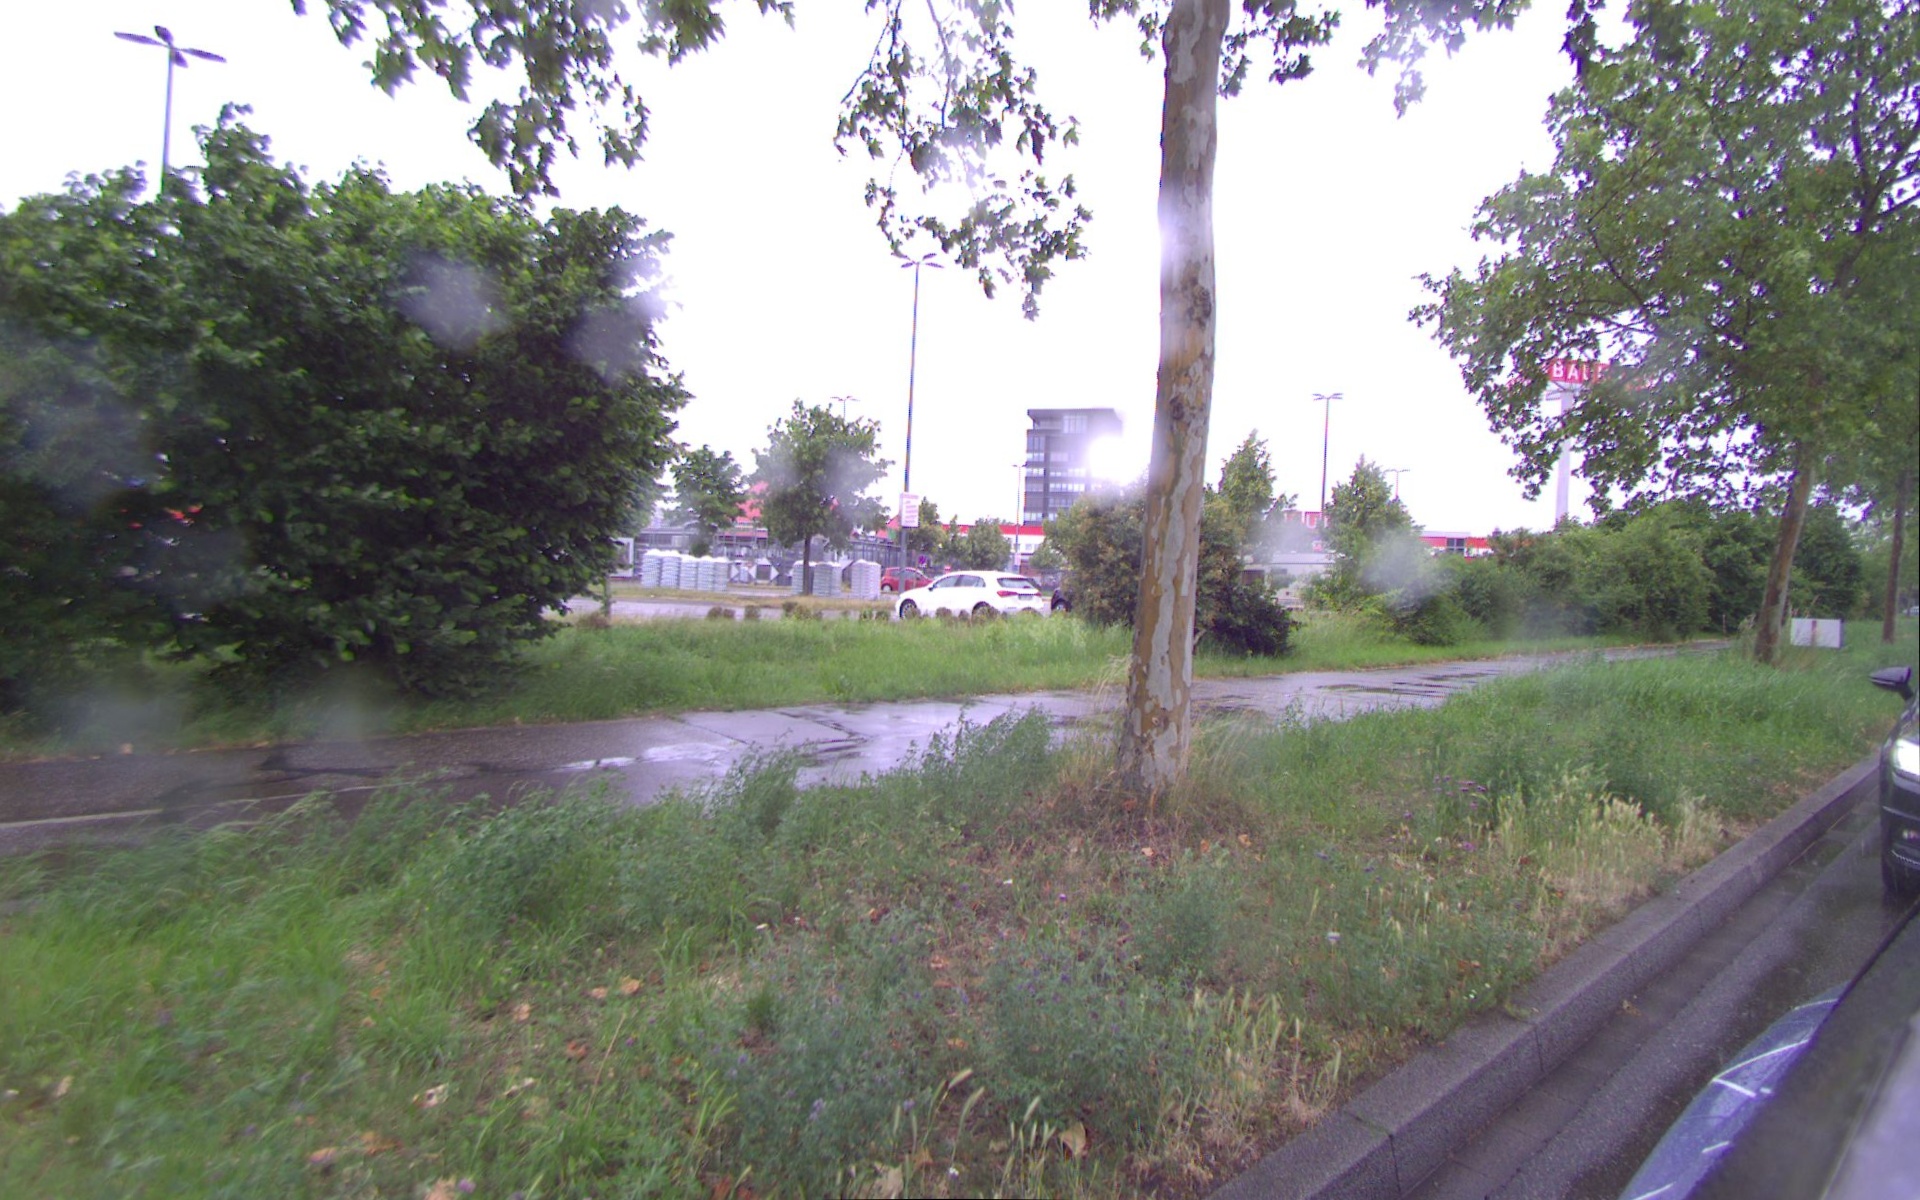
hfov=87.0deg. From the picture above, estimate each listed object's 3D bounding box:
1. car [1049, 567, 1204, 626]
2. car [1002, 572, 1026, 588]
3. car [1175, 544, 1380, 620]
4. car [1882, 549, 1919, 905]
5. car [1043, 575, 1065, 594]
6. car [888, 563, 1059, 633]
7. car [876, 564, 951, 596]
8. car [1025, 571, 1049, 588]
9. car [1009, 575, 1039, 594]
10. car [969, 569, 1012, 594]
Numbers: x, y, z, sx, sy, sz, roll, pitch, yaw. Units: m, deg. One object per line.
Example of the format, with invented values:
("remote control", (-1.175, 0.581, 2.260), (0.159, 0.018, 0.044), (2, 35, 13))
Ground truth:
("car", (4.922, -0.151, 30.288), (1.899, 1.571, 4.262), (0, 2, -45))
("car", (6.002, -2.269, 112.492), (1.973, 1.697, 4.257), (2, 2, 13))
("car", (10.947, -0.703, 35.276), (6.399, 2.392, 2.357), (3, 2, 41))
("car", (6.551, 0.577, 5.607), (4.548, 1.625, 1.768), (0, 0, -43))
("car", (9.309, -1.533, 99.792), (1.969, 1.697, 4.264), (2, 2, 8))
("car", (0.281, -0.110, 25.933), (1.899, 1.571, 4.262), (0, 2, -45))
("car", (-2.631, -1.109, 57.667), (3.937, 1.749, 1.885), (0, 0, 12))
("car", (8.496, -2.278, 111.892), (1.973, 1.697, 4.257), (2, 2, 13))
("car", (6.027, -1.442, 94.716), (1.973, 1.697, 4.255), (2, 2, 14))
("car", (2.075, -1.234, 67.781), (1.903, 1.571, 4.254), (2, 2, 15))
